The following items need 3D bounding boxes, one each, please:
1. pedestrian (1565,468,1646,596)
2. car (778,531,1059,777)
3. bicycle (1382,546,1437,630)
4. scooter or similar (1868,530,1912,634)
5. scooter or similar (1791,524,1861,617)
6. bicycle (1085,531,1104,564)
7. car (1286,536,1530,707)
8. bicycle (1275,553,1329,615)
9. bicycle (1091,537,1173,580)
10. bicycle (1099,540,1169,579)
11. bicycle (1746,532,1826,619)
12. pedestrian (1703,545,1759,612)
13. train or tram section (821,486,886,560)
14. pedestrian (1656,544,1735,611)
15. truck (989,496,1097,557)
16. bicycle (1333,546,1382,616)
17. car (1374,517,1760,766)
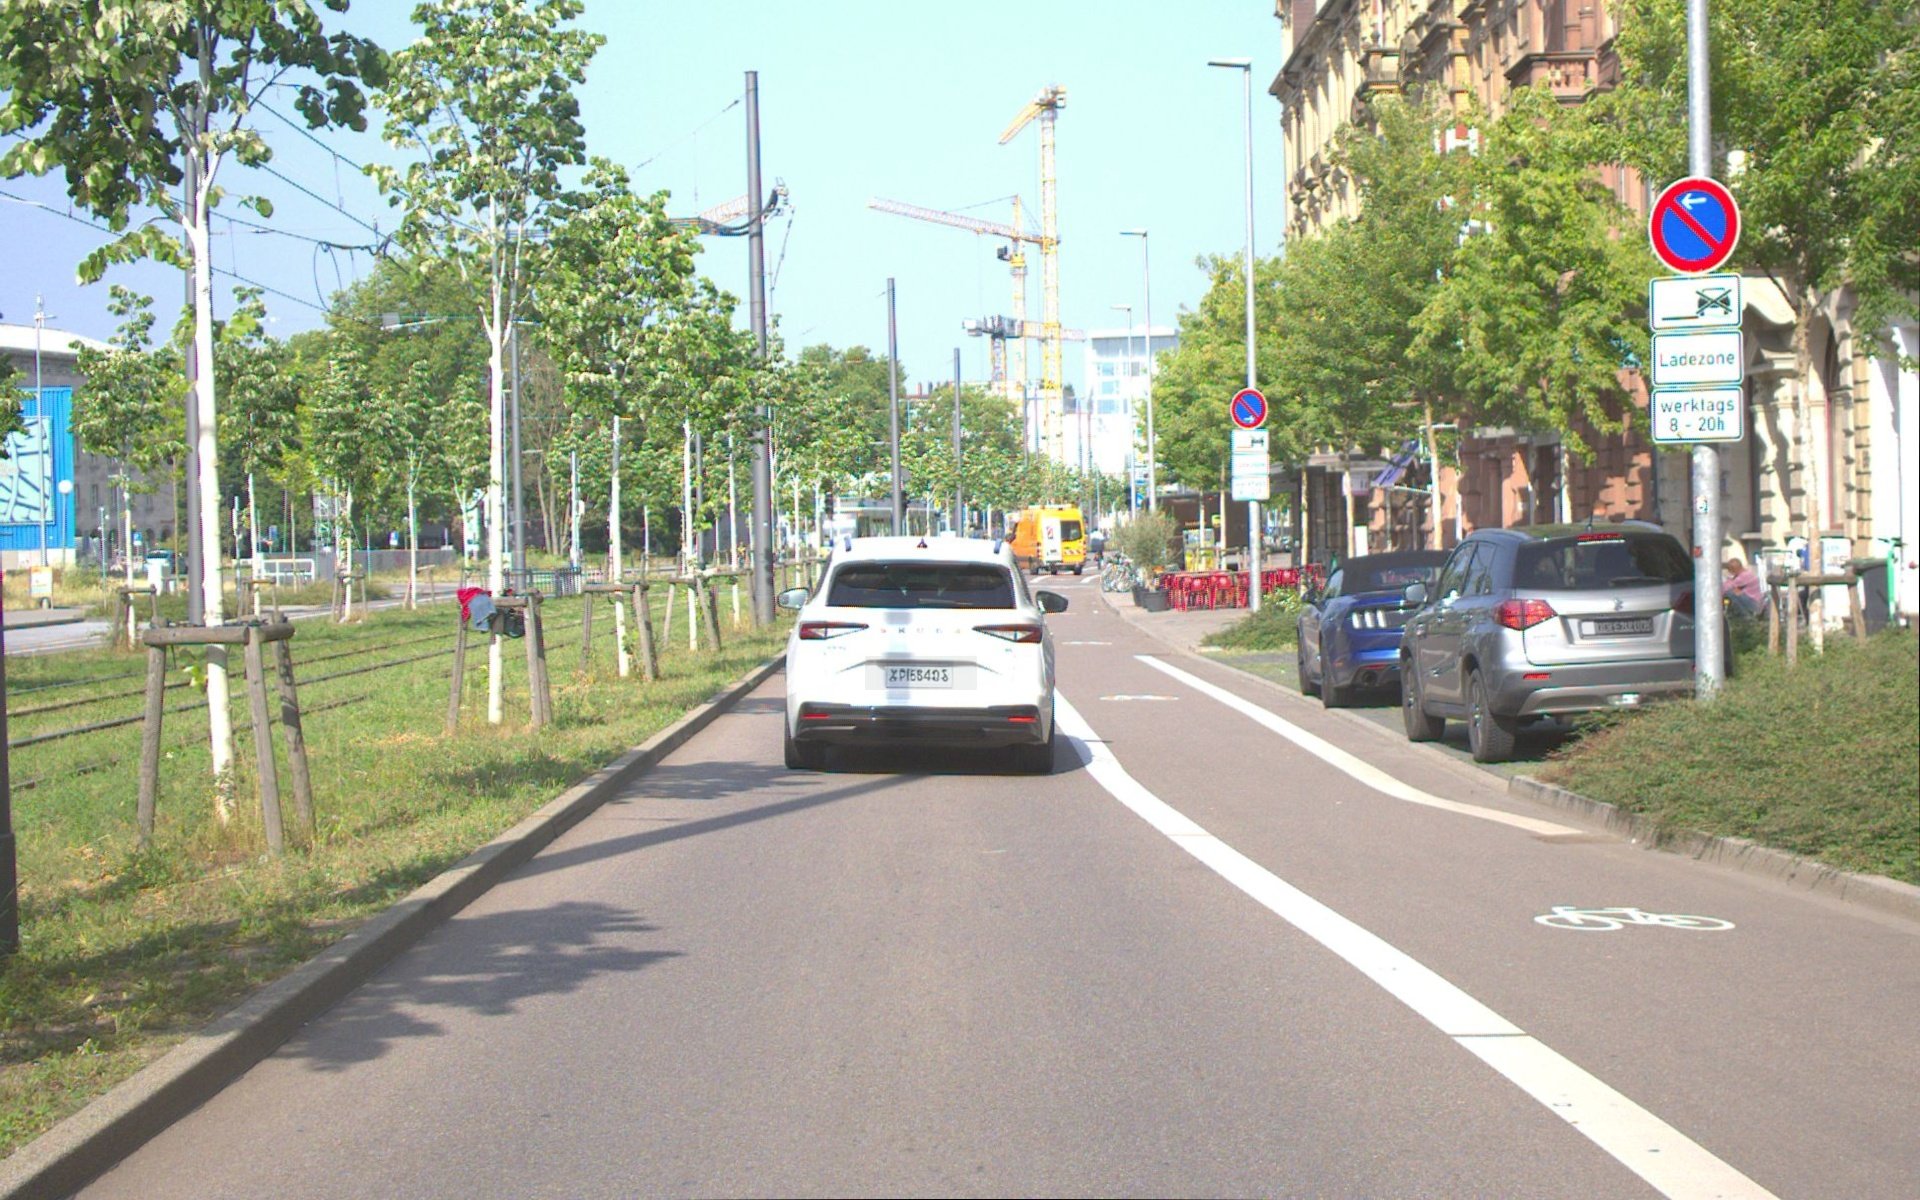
[{"bbox_3d":[8.857,-0.934,47.194,0.823,1.690,0.793,-3,1,-4],"label":"pedestrian"},{"bbox_3d":[-0.267,0.306,24.536,1.817,1.584,4.407,0,1,0],"label":"car"},{"bbox_3d":[6.035,-0.175,46.202,0.492,1.090,1.827,-1,1,0],"label":"bicycle"},{"bbox_3d":[10.368,-0.209,38.341,0.289,1.130,1.088,-1,1,6],"label":"scooter or similar"},{"bbox_3d":[10.603,-0.369,42.116,0.607,1.121,0.932,-1,1,0],"label":"scooter or similar"},{"bbox_3d":[6.118,-2.393,156.218,0.781,1.491,2.800,-1,1,2],"label":"bicycle"},{"bbox_3d":[4.151,0.149,32.491,1.736,1.391,4.714,-2,1,1],"label":"car"},{"bbox_3d":[6.354,-0.303,63.985,0.595,1.118,1.927,-1,1,-6],"label":"bicycle"},{"bbox_3d":[4.855,-1.171,97.092,2.239,1.100,0.588,-3,1,2],"label":"bicycle"},{"bbox_3d":[4.988,-1.163,98.402,1.934,0.983,0.471,-3,1,2],"label":"bicycle"},{"bbox_3d":[10.430,-0.319,43.444,0.450,1.079,1.449,-1,1,-9],"label":"bicycle"},{"bbox_3d":[10.328,-0.292,46.080,0.570,0.852,0.457,-4,1,-5],"label":"pedestrian"},{"bbox_3d":[-5.423,-3.916,177.060,2.898,3.574,12.478,-2,1,0],"label":"train or tram section"},{"bbox_3d":[10.236,-0.313,47.874,0.877,0.873,0.711,-3,1,-3],"label":"pedestrian"},{"bbox_3d":[3.200,-2.864,134.008,2.212,2.310,5.892,-1,1,-20],"label":"truck"},{"bbox_3d":[6.475,-0.315,56.019,0.505,1.056,1.712,-3,2,15],"label":"bicycle"},{"bbox_3d":[4.301,0.227,25.022,1.769,1.583,4.248,-2,1,-3],"label":"car"}]
